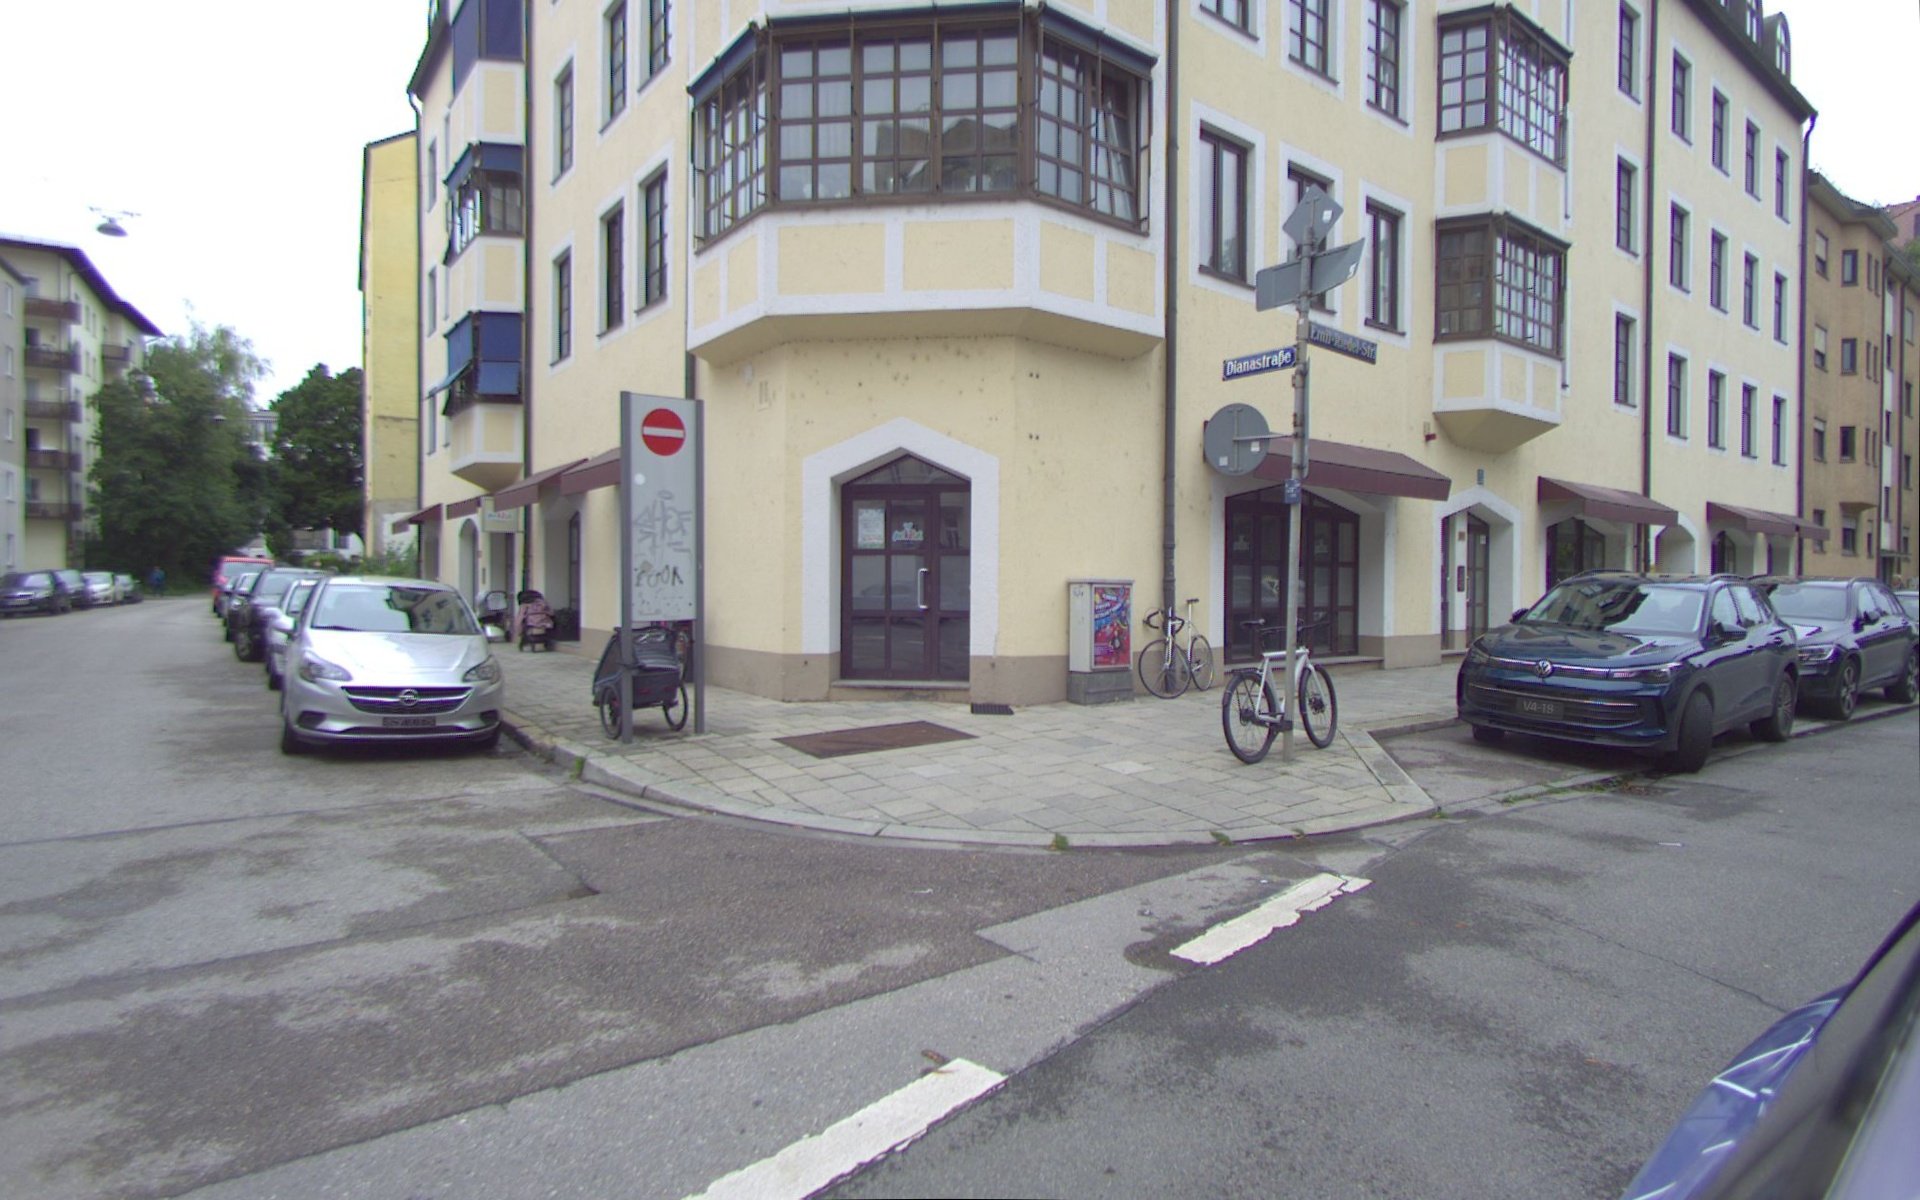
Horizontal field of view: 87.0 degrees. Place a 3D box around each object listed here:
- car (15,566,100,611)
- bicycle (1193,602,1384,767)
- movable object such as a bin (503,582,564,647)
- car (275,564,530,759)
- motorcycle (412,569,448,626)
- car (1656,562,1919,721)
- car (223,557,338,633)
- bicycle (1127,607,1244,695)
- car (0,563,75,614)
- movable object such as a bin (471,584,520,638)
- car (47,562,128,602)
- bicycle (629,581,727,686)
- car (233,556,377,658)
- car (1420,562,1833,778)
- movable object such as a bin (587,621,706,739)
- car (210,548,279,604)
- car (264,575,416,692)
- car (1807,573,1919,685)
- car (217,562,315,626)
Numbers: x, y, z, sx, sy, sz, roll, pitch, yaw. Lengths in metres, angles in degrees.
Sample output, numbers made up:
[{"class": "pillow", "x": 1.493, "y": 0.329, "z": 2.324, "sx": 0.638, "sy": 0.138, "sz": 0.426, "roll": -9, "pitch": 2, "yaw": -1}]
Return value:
[{"class": "car", "x": -34.346, "y": -0.501, "z": 38.636, "sx": 1.941, "sy": 1.587, "sz": 4.432, "roll": -1, "pitch": 3, "yaw": -36}, {"class": "bicycle", "x": 2.763, "y": 0.637, "z": 8.382, "sx": 2.015, "sy": 1.173, "sz": 0.430, "roll": -1, "pitch": 3, "yaw": -38}, {"class": "movable object such as a bin", "x": -7.647, "y": 0.243, "z": 18.129, "sx": 0.753, "sy": 1.094, "sz": 1.126, "roll": -1, "pitch": 2, "yaw": -37}, {"class": "car", "x": -5.443, "y": 0.442, "z": 9.640, "sx": 1.718, "sy": 1.458, "sz": 3.748, "roll": 3, "pitch": 0, "yaw": -34}, {"class": "motorcycle", "x": -13.238, "y": -0.087, "z": 25.268, "sx": 0.546, "sy": 1.356, "sz": 1.886, "roll": -1, "pitch": 2, "yaw": -35}, {"class": "car", "x": 10.819, "y": 0.389, "z": 12.893, "sx": 4.085, "sy": 1.607, "sz": 1.821, "roll": -1, "pitch": 6, "yaw": -35}, {"class": "car", "x": -15.960, "y": -0.153, "z": 23.669, "sx": 1.942, "sy": 1.588, "sz": 4.429, "roll": -1, "pitch": 1, "yaw": -38}, {"class": "bicycle", "x": 2.668, "y": 0.574, "z": 11.880, "sx": 1.664, "sy": 0.912, "sz": 0.262, "roll": -1, "pitch": 6, "yaw": -37}, {"class": "car", "x": -31.545, "y": -0.430, "z": 34.257, "sx": 1.941, "sy": 1.587, "sz": 4.670, "roll": -1, "pitch": 3, "yaw": -36}, {"class": "movable object such as a bin", "x": -9.337, "y": 0.195, "z": 20.319, "sx": 0.671, "sy": 1.026, "sz": 1.126, "roll": -1, "pitch": 2, "yaw": -37}, {"class": "car", "x": -36.995, "y": -0.772, "z": 43.039, "sx": 1.940, "sy": 1.588, "sz": 4.434, "roll": -1, "pitch": 1, "yaw": -32}, {"class": "bicycle", "x": -3.544, "y": 0.372, "z": 12.621, "sx": 0.506, "sy": 1.201, "sz": 1.905, "roll": 0, "pitch": 1, "yaw": -37}, {"class": "car", "x": -11.778, "y": 0.051, "z": 18.088, "sx": 1.948, "sy": 1.604, "sz": 4.028, "roll": -1, "pitch": 2, "yaw": -36}, {"class": "car", "x": 6.630, "y": 0.483, "z": 9.898, "sx": 4.415, "sy": 1.643, "sz": 2.112, "roll": -1, "pitch": 1, "yaw": -39}, {"class": "movable object such as a bin", "x": -2.818, "y": 0.678, "z": 9.045, "sx": 0.671, "sy": 0.911, "sz": 1.126, "roll": -1, "pitch": 2, "yaw": -37}, {"class": "car", "x": -27.152, "y": -0.917, "z": 38.515, "sx": 2.026, "sy": 2.003, "sz": 4.432, "roll": -1, "pitch": 1, "yaw": -34}, {"class": "car", "x": -8.718, "y": 0.356, "z": 14.111, "sx": 1.608, "sy": 1.353, "sz": 3.457, "roll": -1, "pitch": 3, "yaw": -35}, {"class": "car", "x": 14.985, "y": 0.391, "z": 15.708, "sx": 3.856, "sy": 1.541, "sz": 1.767, "roll": -1, "pitch": 3, "yaw": -34}, {"class": "car", "x": -18.831, "y": -0.198, "z": 27.364, "sx": 1.942, "sy": 1.588, "sz": 4.429, "roll": -1, "pitch": 1, "yaw": -38}]
